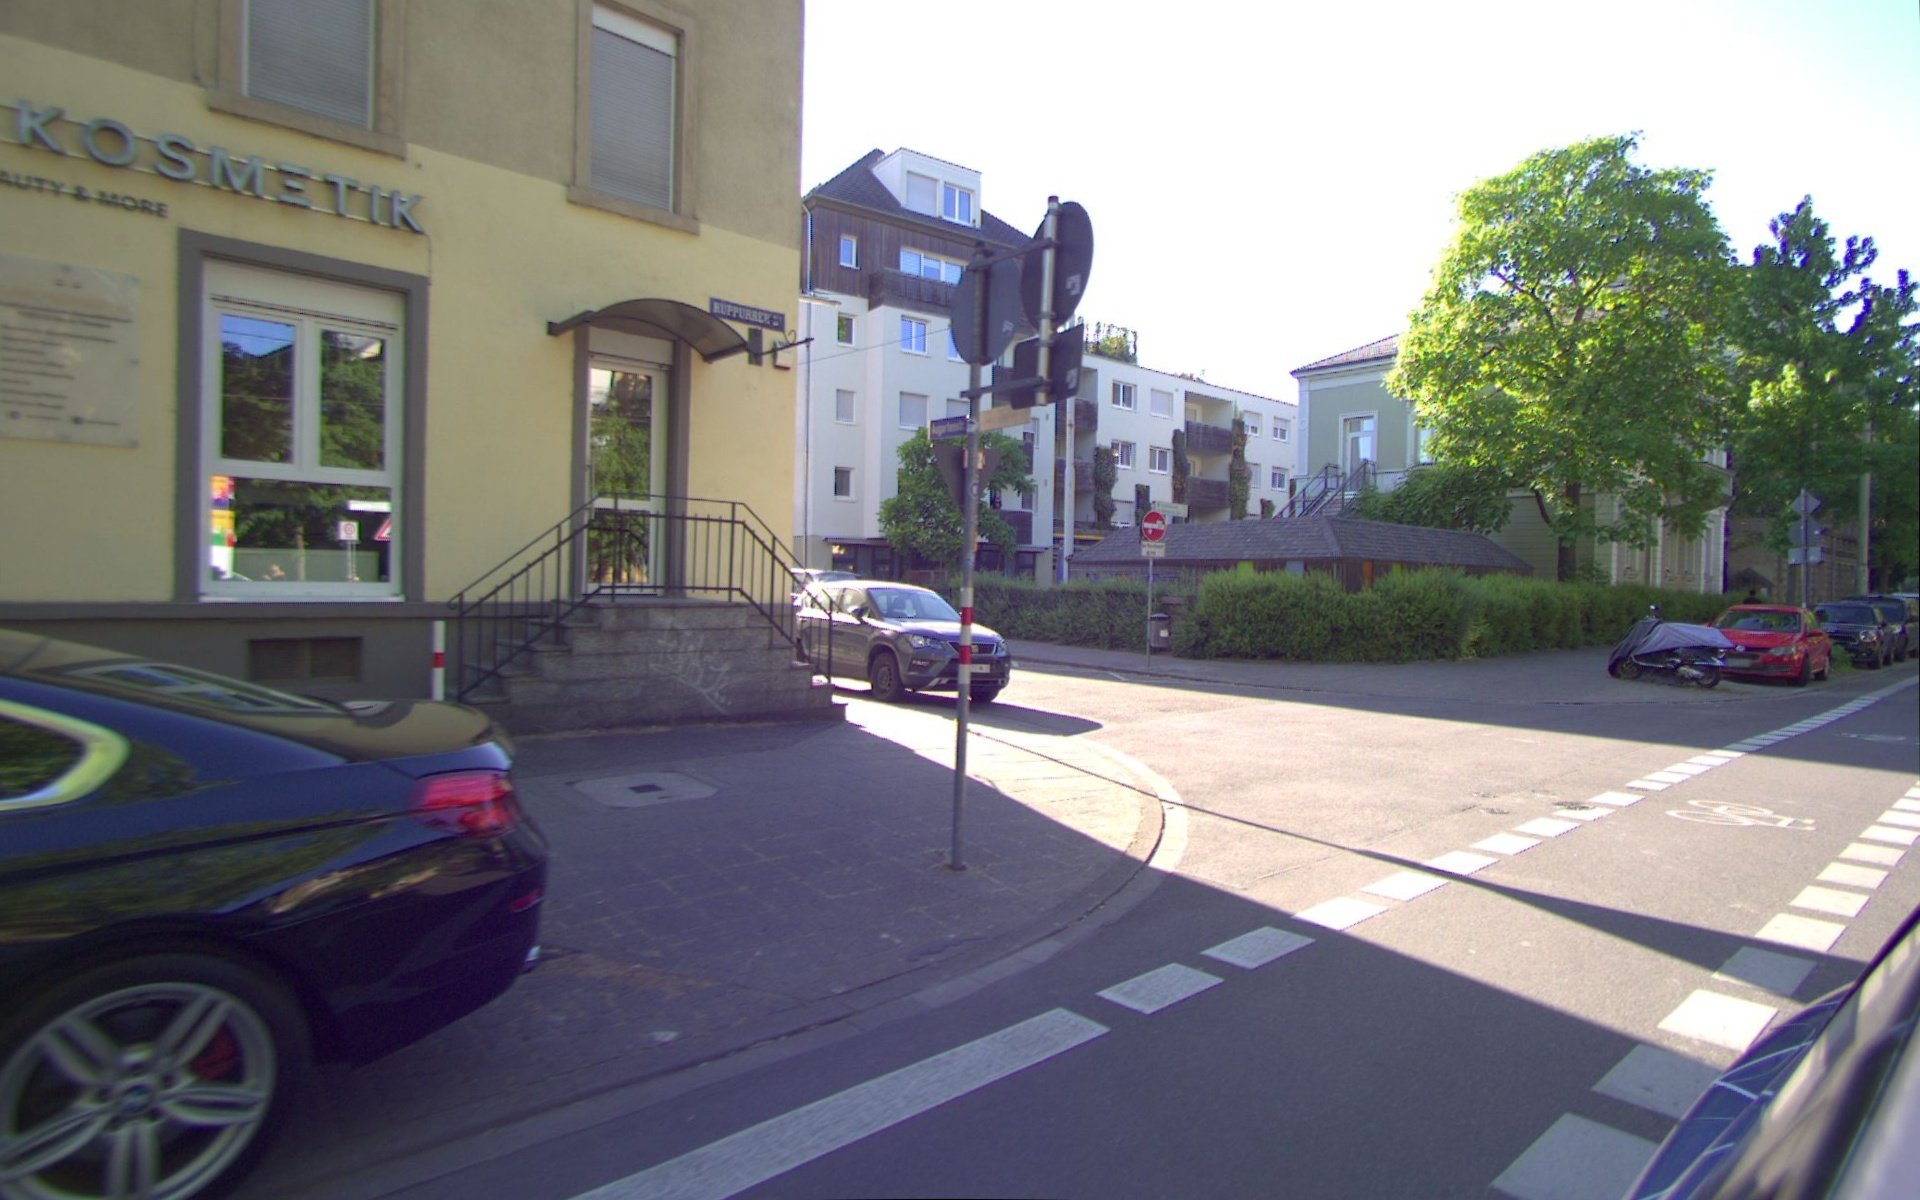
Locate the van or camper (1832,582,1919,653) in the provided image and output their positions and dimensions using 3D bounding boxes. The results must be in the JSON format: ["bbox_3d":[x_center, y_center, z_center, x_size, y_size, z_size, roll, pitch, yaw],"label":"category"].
[{"bbox_3d":[26.226,0.440,28.606,4.365,1.804,1.694,0,3,-41],"label":"van or camper"}]

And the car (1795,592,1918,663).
[{"bbox_3d":[22.073,0.607,24.863,4.071,1.505,1.694,0,3,-41],"label":"car"}]

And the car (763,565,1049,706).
[{"bbox_3d":[-0.939,0.414,14.285,1.866,1.660,4.462,3,-1,-36],"label":"car"}]

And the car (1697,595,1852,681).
[{"bbox_3d":[15.633,0.655,19.367,3.797,1.397,1.607,0,3,-41],"label":"car"}]

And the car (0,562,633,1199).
[{"bbox_3d":[-3.361,0.633,2.161,4.657,1.397,1.998,0,4,-41],"label":"car"}]

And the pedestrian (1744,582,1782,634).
[{"bbox_3d":[26.305,0.250,33.158,0.869,1.699,0.813,0,0,-41],"label":"pedestrian"}]

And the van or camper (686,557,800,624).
[{"bbox_3d":[-7.083,-0.303,32.711,1.894,2.007,4.596,1,0,-36],"label":"van or camper"}]

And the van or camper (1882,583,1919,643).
[{"bbox_3d":[33.174,0.432,34.544,4.837,1.906,1.882,0,3,-41],"label":"van or camper"}]

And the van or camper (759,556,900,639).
[{"bbox_3d":[-3.697,-0.105,27.916,1.894,2.090,4.596,1,0,-36],"label":"van or camper"}]

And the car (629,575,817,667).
[{"bbox_3d":[-4.602,0.333,19.100,1.674,1.515,4.822,3,-1,-36],"label":"car"}]

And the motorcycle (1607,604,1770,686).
[{"bbox_3d":[12.514,0.728,17.458,0.812,1.172,2.074,0,4,-36],"label":"motorcycle"}]
